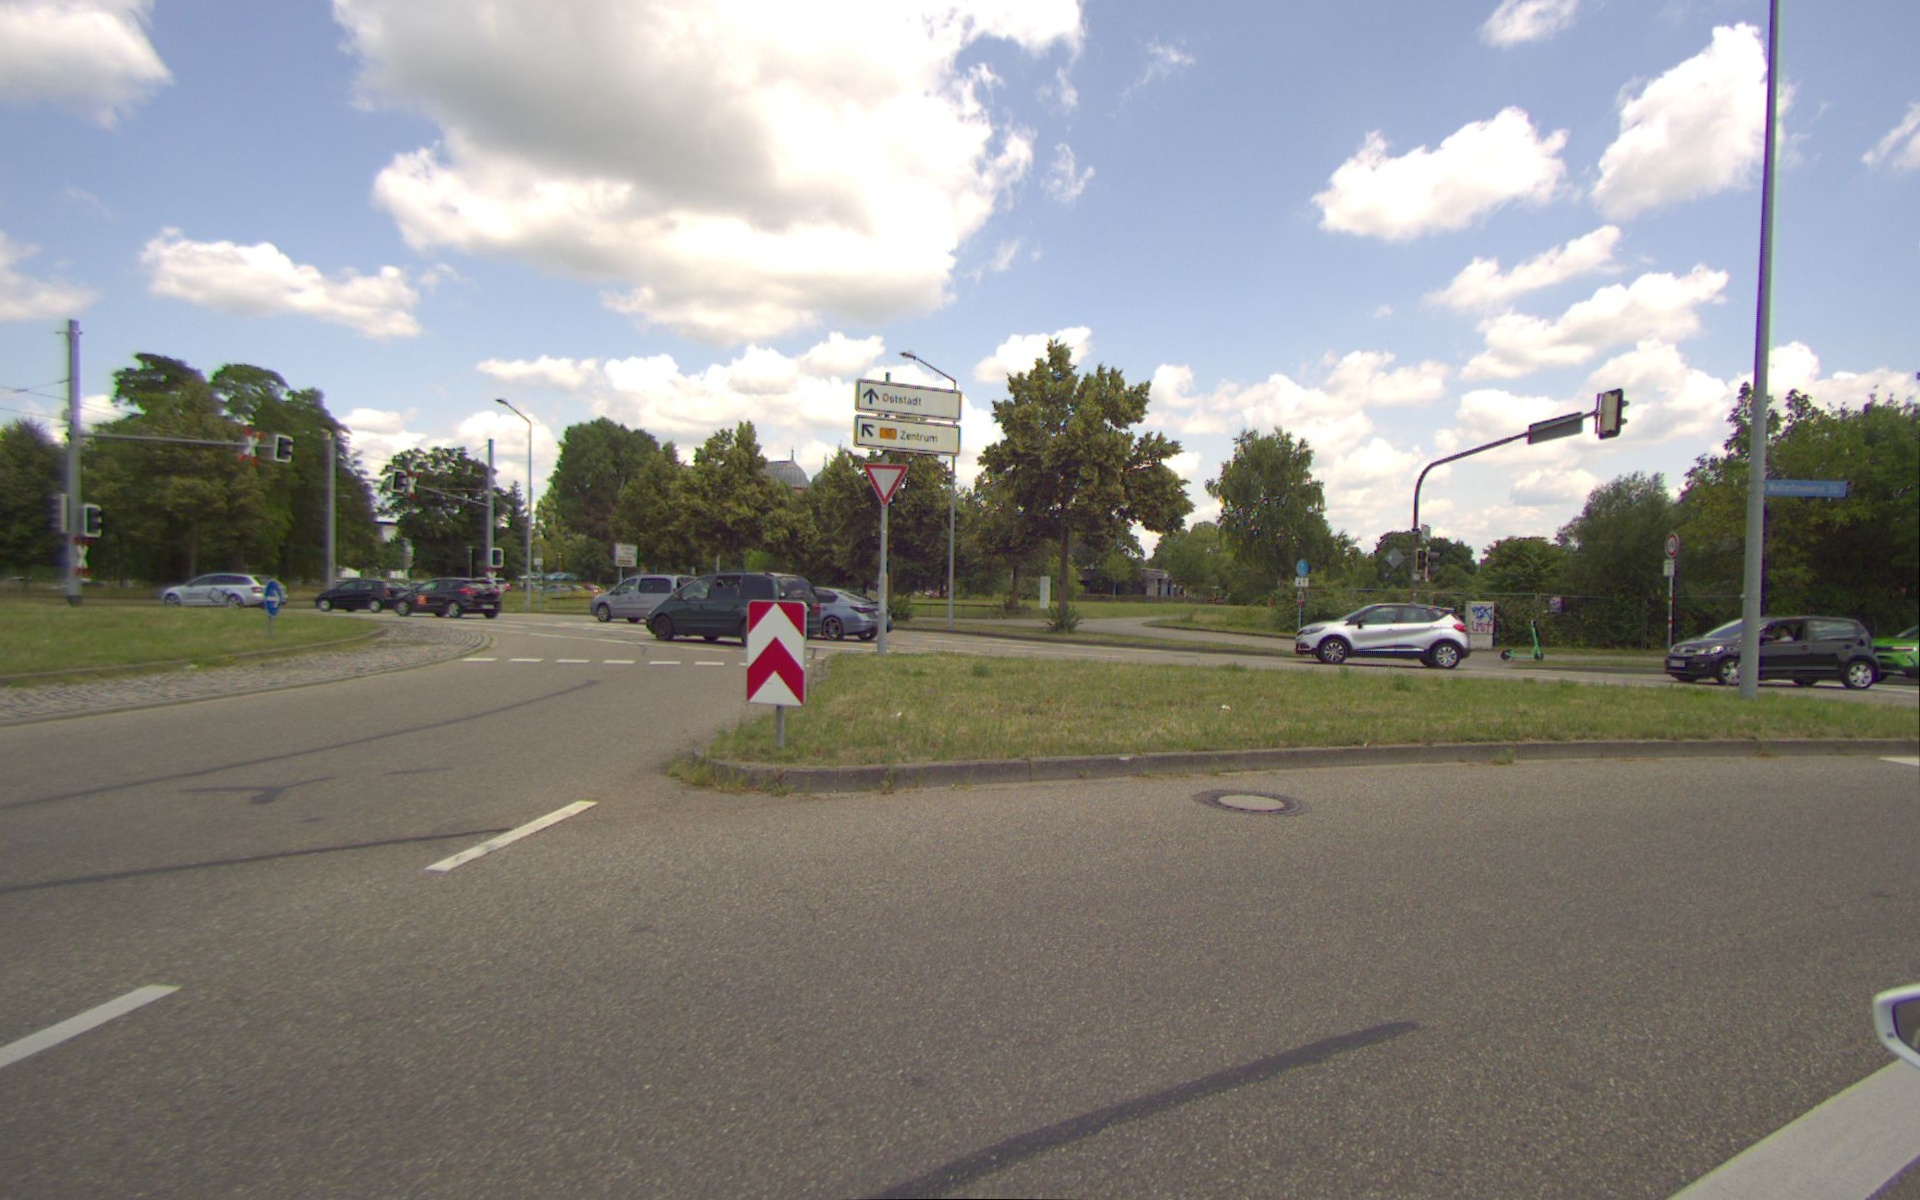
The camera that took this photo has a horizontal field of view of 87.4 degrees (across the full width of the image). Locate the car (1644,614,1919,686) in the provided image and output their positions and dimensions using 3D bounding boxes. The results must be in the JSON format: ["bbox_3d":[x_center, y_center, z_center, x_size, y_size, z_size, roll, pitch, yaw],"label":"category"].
[{"bbox_3d":[17.304,1.022,20.958,4.691,1.328,1.845,1,-1,5],"label":"car"}]

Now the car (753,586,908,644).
[{"bbox_3d":[-3.711,0.382,28.544,4.119,1.442,1.906,2,1,33],"label":"car"}]

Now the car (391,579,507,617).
[{"bbox_3d":[-18.896,-0.073,37.155,3.904,1.358,1.801,0,-1,25],"label":"car"}]

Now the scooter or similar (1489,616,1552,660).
[{"bbox_3d":[15.622,1.049,28.028,1.412,1.182,0.542,1,2,2],"label":"scooter or similar"}]

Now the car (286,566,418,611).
[{"bbox_3d":[-26.516,-0.497,43.874,4.568,1.845,2.126,1,1,6],"label":"car"}]

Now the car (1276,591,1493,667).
[{"bbox_3d":[10.557,0.678,25.365,4.690,1.709,2.001,1,1,11],"label":"car"}]

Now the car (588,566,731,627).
[{"bbox_3d":[-10.858,-0.159,36.292,4.694,2.041,1.999,2,1,21],"label":"car"}]

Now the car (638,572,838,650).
[{"bbox_3d":[-5.273,0.214,23.754,4.510,1.614,1.910,2,1,30],"label":"car"}]

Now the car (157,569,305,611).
[{"bbox_3d":[-28.639,-0.398,39.547,4.416,1.542,2.125,1,1,7],"label":"car"}]

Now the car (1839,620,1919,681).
[{"bbox_3d":[23.295,1.191,23.522,4.089,1.366,1.621,1,-1,-2],"label":"car"}]
